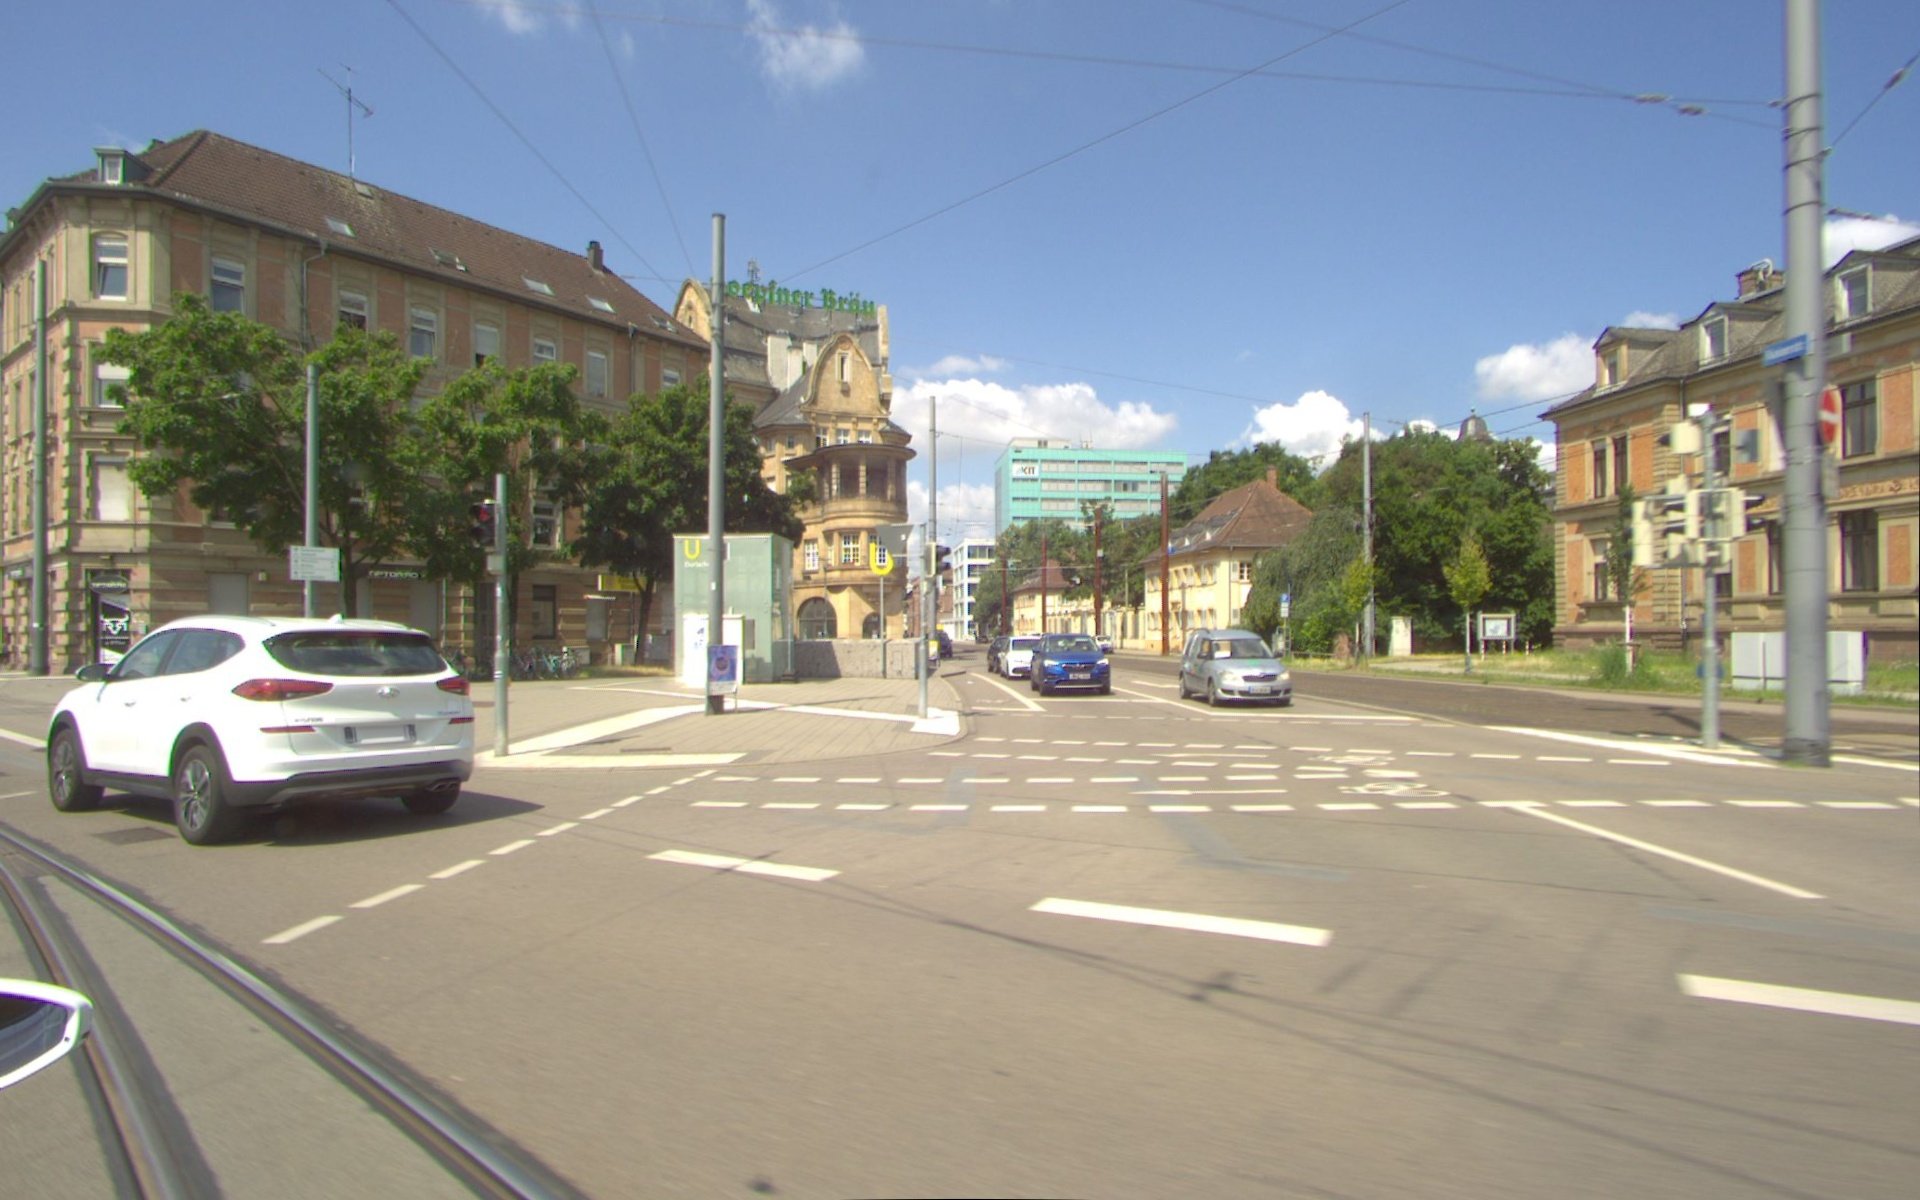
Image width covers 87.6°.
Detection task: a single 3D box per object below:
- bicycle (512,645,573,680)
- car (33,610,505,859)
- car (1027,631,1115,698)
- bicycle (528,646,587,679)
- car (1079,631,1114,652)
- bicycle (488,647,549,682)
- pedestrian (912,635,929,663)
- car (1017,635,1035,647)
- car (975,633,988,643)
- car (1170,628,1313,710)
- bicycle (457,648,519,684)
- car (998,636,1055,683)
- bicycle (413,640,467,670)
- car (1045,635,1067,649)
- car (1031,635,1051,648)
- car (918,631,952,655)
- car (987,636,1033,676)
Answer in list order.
[{"bbox_3d":[-13.918,2.064,33.373,2.544,1.105,0.788,-2,-1,40],"label":"bicycle"},{"bbox_3d":[-5.974,0.935,8.549,4.120,1.655,1.849,0,-1,32],"label":"car"},{"bbox_3d":[2.901,1.677,27.113,1.838,1.571,4.428,-2,-2,0],"label":"car"},{"bbox_3d":[-13.850,2.134,34.432,2.544,1.067,0.788,-2,-1,40],"label":"bicycle"},{"bbox_3d":[11.825,3.584,87.008,1.962,1.794,3.999,0,-2,-10],"label":"car"},{"bbox_3d":[-14.402,2.076,32.622,2.544,1.067,0.788,-2,-1,40],"label":"bicycle"},{"bbox_3d":[-2.250,2.784,57.221,0.880,1.579,0.864,0,-1,8],"label":"pedestrian"},{"bbox_3d":[7.897,4.901,119.521,1.649,1.404,3.633,0,-2,-5],"label":"car"},{"bbox_3d":[3.417,6.046,159.974,1.649,1.405,3.632,0,-1,-5],"label":"car"},{"bbox_3d":[6.042,1.437,22.067,1.838,1.608,4.428,0,-2,-1],"label":"car"},{"bbox_3d":[-15.145,2.090,32.103,2.544,1.084,0.788,-2,-1,40],"label":"bicycle"},{"bbox_3d":[2.387,2.148,36.738,1.901,1.586,3.997,0,-1,1],"label":"car"},{"bbox_3d":[-19.297,2.042,37.162,1.637,1.064,0.757,1,-1,-45],"label":"bicycle"},{"bbox_3d":[10.118,4.437,106.116,1.649,1.404,3.797,0,-2,-5],"label":"car"},{"bbox_3d":[8.911,4.599,110.560,1.649,1.404,3.797,0,-2,-5],"label":"car"},{"bbox_3d":[-1.919,3.233,75.693,1.962,1.794,3.999,0,-2,-10],"label":"car"},{"bbox_3d":[2.105,2.386,43.482,1.837,1.608,4.428,0,-2,1],"label":"car"}]
